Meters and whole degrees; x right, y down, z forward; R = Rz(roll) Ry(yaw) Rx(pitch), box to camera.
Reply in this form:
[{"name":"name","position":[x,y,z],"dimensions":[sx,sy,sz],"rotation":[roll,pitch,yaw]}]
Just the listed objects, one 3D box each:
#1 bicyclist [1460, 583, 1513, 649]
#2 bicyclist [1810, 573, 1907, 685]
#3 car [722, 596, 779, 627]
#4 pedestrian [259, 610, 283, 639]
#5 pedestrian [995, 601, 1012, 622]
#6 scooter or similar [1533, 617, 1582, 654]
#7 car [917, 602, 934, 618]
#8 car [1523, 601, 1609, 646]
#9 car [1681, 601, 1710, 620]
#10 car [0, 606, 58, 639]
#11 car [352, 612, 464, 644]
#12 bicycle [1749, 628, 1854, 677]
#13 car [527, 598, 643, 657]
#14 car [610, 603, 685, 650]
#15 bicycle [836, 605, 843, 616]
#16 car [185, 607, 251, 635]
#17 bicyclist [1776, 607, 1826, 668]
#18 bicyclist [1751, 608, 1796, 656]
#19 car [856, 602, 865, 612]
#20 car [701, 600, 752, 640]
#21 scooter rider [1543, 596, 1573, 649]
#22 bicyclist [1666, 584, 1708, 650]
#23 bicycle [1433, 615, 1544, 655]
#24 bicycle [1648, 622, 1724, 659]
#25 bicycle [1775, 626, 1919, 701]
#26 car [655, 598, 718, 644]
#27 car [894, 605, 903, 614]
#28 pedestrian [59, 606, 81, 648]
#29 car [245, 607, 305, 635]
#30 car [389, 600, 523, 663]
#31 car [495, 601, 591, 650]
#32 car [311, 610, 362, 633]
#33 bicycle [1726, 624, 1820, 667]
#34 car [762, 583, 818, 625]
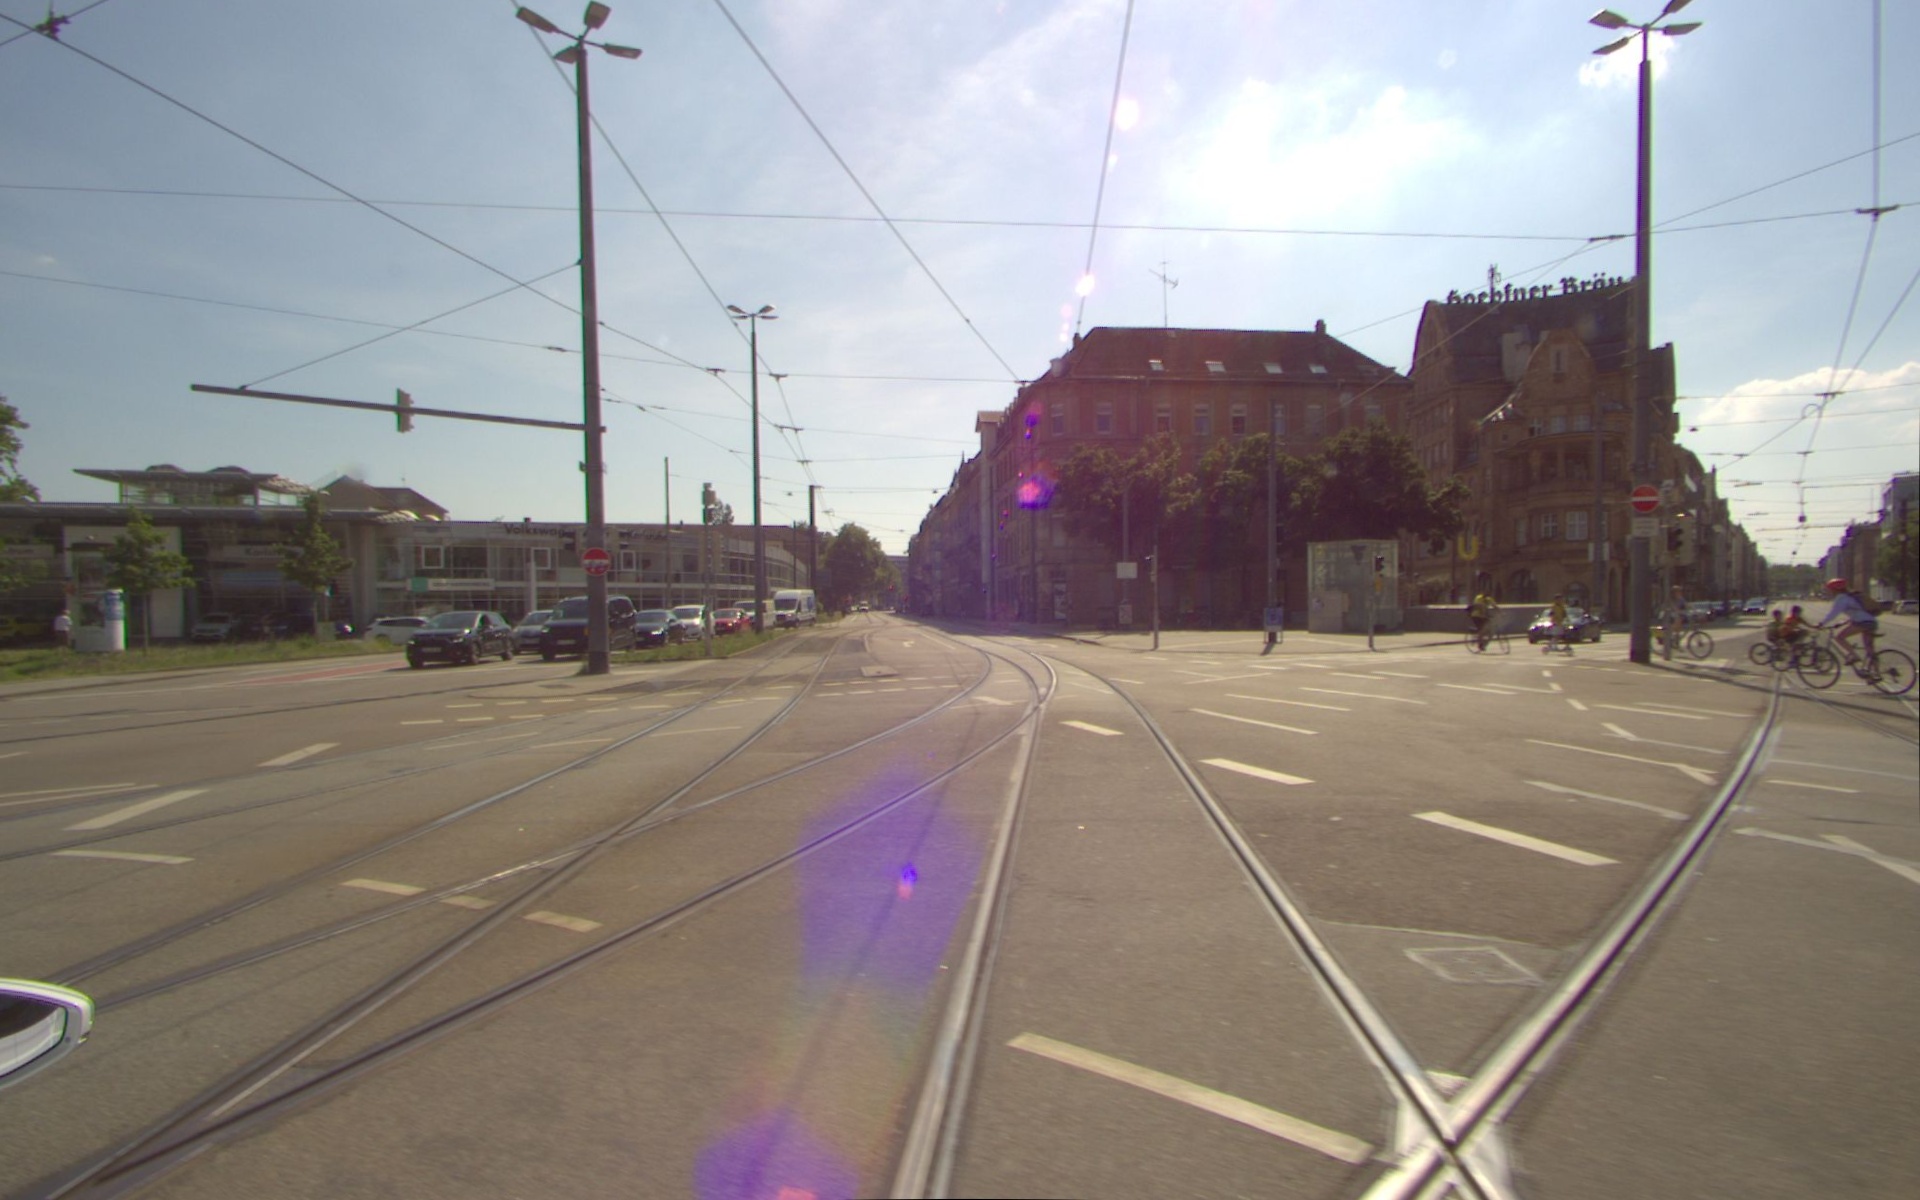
[{"name":"bicyclist","position":[15.245,0.475,28.985],"dimensions":[0.918,1.843,1.045],"rotation":[2,-1,-36]},{"name":"bicyclist","position":[14.207,0.454,15.852],"dimensions":[0.703,1.692,0.874],"rotation":[-3,1,-12]},{"name":"car","position":[-12.385,0.679,59.513],"dimensions":[2.150,1.702,5.029],"rotation":[-1,0,2]},{"name":"pedestrian","position":[-37.789,1.344,54.917],"dimensions":[0.941,1.600,0.532],"rotation":[2,-1,-24]},{"name":"pedestrian","position":[2.933,0.772,67.075],"dimensions":[0.874,1.452,0.709],"rotation":[0,1,33]},{"name":"scooter or similar","position":[16.126,0.956,27.045],"dimensions":[0.579,0.988,0.989],"rotation":[2,-1,-20]},{"name":"car","position":[-4.859,1.396,139.824],"dimensions":[2.075,2.039,4.000],"rotation":[1,-1,-6]},{"name":"car","position":[22.946,0.833,37.878],"dimensions":[3.956,1.605,1.624],"rotation":[0,0,-40]},{"name":"car","position":[55.185,0.766,75.143],"dimensions":[1.618,1.363,3.557],"rotation":[0,0,38]},{"name":"car","position":[-51.190,1.219,54.163],"dimensions":[1.964,1.705,3.995],"rotation":[2,-2,-15]},{"name":"car","position":[-26.827,1.355,48.739],"dimensions":[4.511,1.454,1.444],"rotation":[1,-1,-7]},{"name":"bicycle","position":[17.191,1.050,20.496],"dimensions":[0.511,0.898,1.570],"rotation":[-1,1,-23]},{"name":"car","position":[-11.136,0.830,30.118],"dimensions":[1.929,1.608,4.717],"rotation":[-1,-1,-3]},{"name":"car","position":[-11.471,0.971,36.967],"dimensions":[1.864,1.608,4.000],"rotation":[-1,-1,-6]},{"name":"bicycle","position":[-13.913,1.274,115.460],"dimensions":[0.740,1.210,2.839],"rotation":[1,-1,-6]},{"name":"car","position":[-41.963,1.194,56.716],"dimensions":[1.967,1.505,3.989],"rotation":[2,-1,-22]},{"name":"bicyclist","position":[17.183,0.748,20.471],"dimensions":[0.511,1.213,0.601],"rotation":[-1,1,-24]},{"name":"bicyclist","position":[18.216,0.719,22.425],"dimensions":[0.493,1.043,0.603],"rotation":[2,0,-22]},{"name":"car","position":[-22.688,1.652,229.184],"dimensions":[1.801,2.242,3.999],"rotation":[-1,0,-3]},{"name":"car","position":[-12.005,1.061,51.645],"dimensions":[1.863,1.941,4.201],"rotation":[-1,-1,-3]},{"name":"scooter rider","position":[16.134,0.604,27.023],"dimensions":[0.579,1.415,0.405],"rotation":[1,-1,-21]},{"name":"bicyclist","position":[18.229,0.424,25.119],"dimensions":[0.493,1.642,0.648],"rotation":[1,0,-15]},{"name":"bicycle","position":[15.248,0.996,28.965],"dimensions":[0.918,1.083,2.728],"rotation":[2,-2,-35]},{"name":"bicycle","position":[18.202,1.003,25.148],"dimensions":[0.493,0.877,1.585],"rotation":[2,0,-15]},{"name":"bicycle","position":[14.234,0.968,15.873],"dimensions":[0.703,1.029,2.018],"rotation":[-3,0,-12]},{"name":"car","position":[-12.085,0.950,44.501],"dimensions":[1.863,1.941,4.201],"rotation":[-1,-1,-3]},{"name":"car","position":[-15.058,2.349,246.171],"dimensions":[1.961,2.040,4.000],"rotation":[0,0,-1]},{"name":"pedestrian","position":[-34.579,1.041,38.904],"dimensions":[0.386,1.616,0.464],"rotation":[1,-1,3]},{"name":"car","position":[-39.381,1.222,57.651],"dimensions":[1.967,1.505,3.989],"rotation":[2,-1,-22]},{"name":"car","position":[-14.125,0.879,28.351],"dimensions":[1.861,1.608,4.211],"rotation":[-1,-1,-3]},{"name":"car","position":[-14.650,0.897,35.406],"dimensions":[1.863,1.608,4.001],"rotation":[-1,-1,-3]},{"name":"car","position":[-36.301,1.243,58.387],"dimensions":[1.806,1.210,3.989],"rotation":[2,-2,-21]},{"name":"bicycle","position":[18.199,1.005,22.448],"dimensions":[0.493,0.877,1.582],"rotation":[2,0,-22]},{"name":"car","position":[-11.352,0.323,67.399],"dimensions":[2.173,2.608,5.876],"rotation":[1,-1,6]}]
